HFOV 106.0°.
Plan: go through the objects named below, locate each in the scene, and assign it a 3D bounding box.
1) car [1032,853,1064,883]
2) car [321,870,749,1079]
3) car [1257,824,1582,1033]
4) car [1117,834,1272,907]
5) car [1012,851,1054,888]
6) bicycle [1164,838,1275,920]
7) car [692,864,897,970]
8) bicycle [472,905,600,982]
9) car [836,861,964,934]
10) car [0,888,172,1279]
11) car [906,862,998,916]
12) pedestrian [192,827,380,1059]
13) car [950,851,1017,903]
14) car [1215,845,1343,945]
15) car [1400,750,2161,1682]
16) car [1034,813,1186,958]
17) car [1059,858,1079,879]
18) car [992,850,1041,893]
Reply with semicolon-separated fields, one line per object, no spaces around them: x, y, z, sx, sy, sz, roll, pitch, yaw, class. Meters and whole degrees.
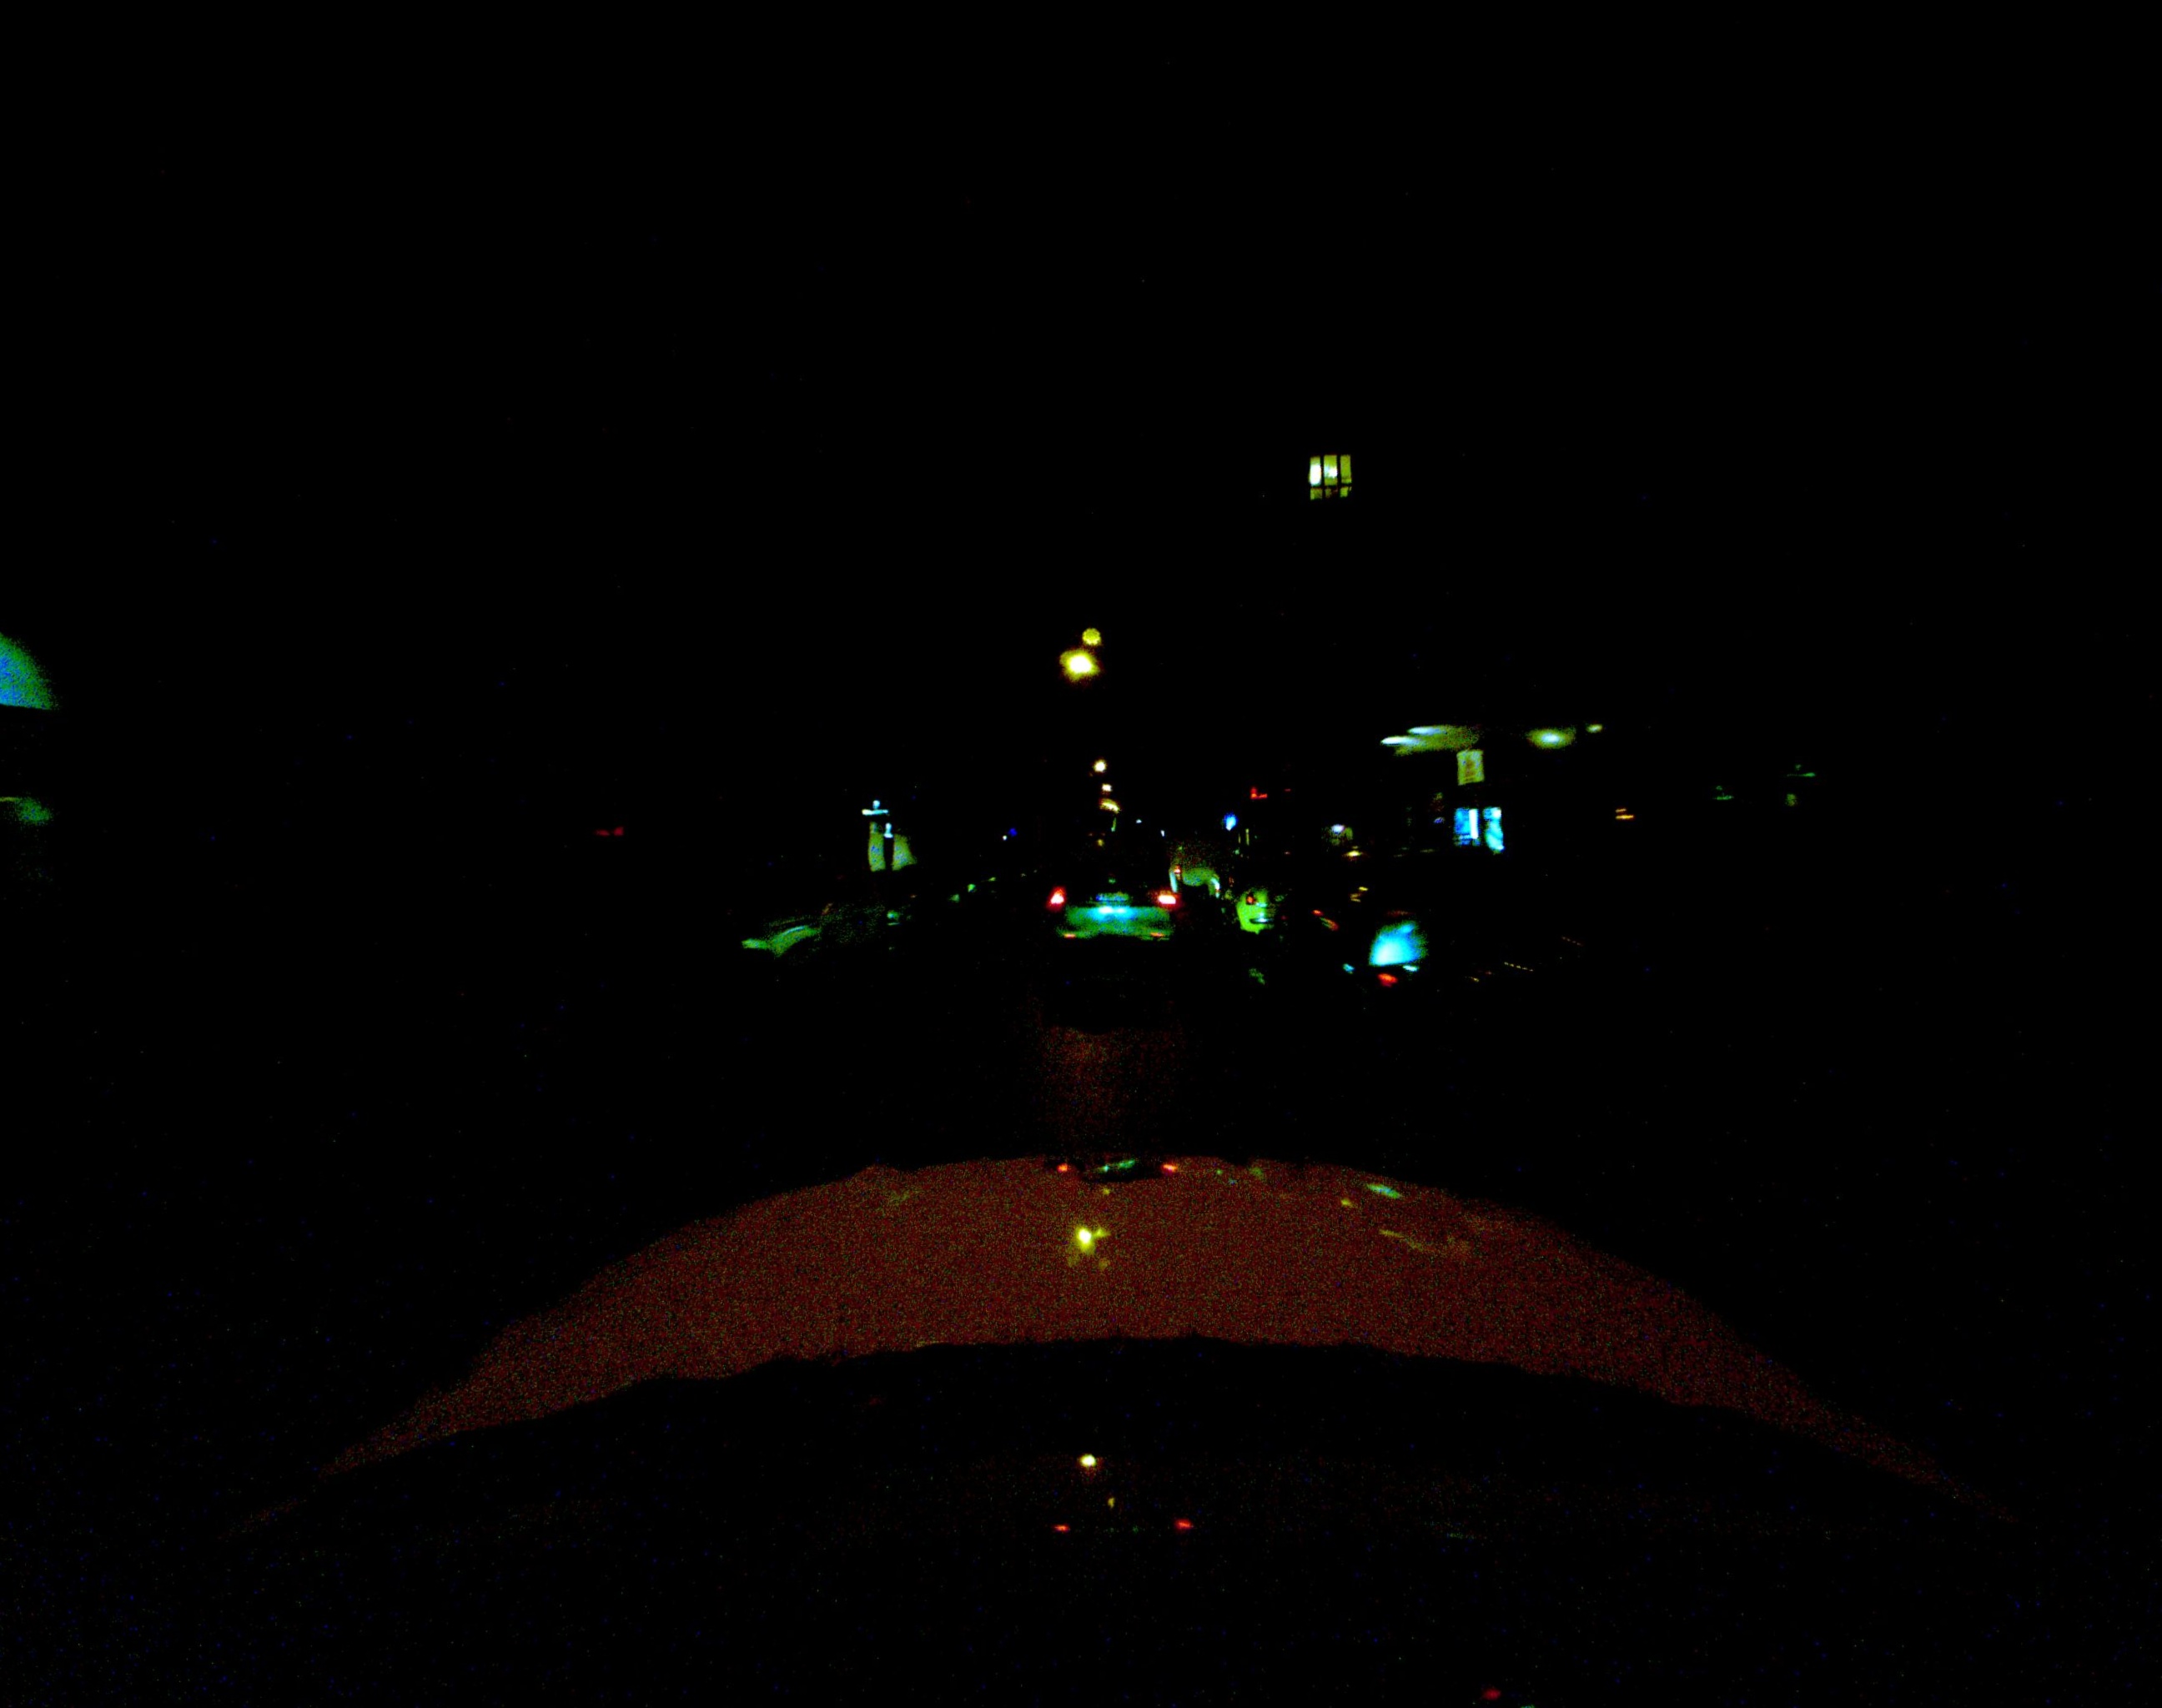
-2.307;0.993;57.752;1.986;2.014;4.002;0;-1;2;car
-4.797;0.938;7.826;1.580;1.449;3.506;-2;0;3;car
3.090;0.612;8.395;1.746;1.608;3.990;-1;-1;1;car
3.461;0.407;24.141;2.102;1.922;4.855;-1;0;43;car
-2.699;0.875;46.345;1.986;2.014;4.002;0;-1;2;car
3.189;0.578;18.992;2.311;1.639;0.889;-6;-1;2;bicycle
-4.551;0.916;13.685;1.683;1.400;4.320;-2;0;3;car
-8.093;1.297;12.201;0.447;0.958;2.015;-3;-2;3;bicycle
-4.129;0.930;19.364;1.746;1.449;4.627;0;0;3;car
-5.099;0.938;2.414;1.580;1.510;2.789;-2;0;3;car
-3.744;0.981;24.269;1.986;1.449;4.001;0;-1;1;car
-7.042;0.721;7.230;1.022;1.865;0.983;-1;-1;33;pedestrian
-3.702;0.858;31.587;1.986;1.862;4.094;0;-1;1;car
3.381;0.671;14.491;1.585;1.543;3.422;-1;-1;3;car
2.676;0.602;2.493;1.746;1.538;4.399;-1;-1;1;car
0.336;0.449;13.926;2.117;1.991;4.597;-2;0;-2;car
-1.210;1.436;81.874;1.742;2.014;4.002;0;-1;2;car
-3.163;0.842;40.610;1.986;2.014;4.001;0;-1;2;car
